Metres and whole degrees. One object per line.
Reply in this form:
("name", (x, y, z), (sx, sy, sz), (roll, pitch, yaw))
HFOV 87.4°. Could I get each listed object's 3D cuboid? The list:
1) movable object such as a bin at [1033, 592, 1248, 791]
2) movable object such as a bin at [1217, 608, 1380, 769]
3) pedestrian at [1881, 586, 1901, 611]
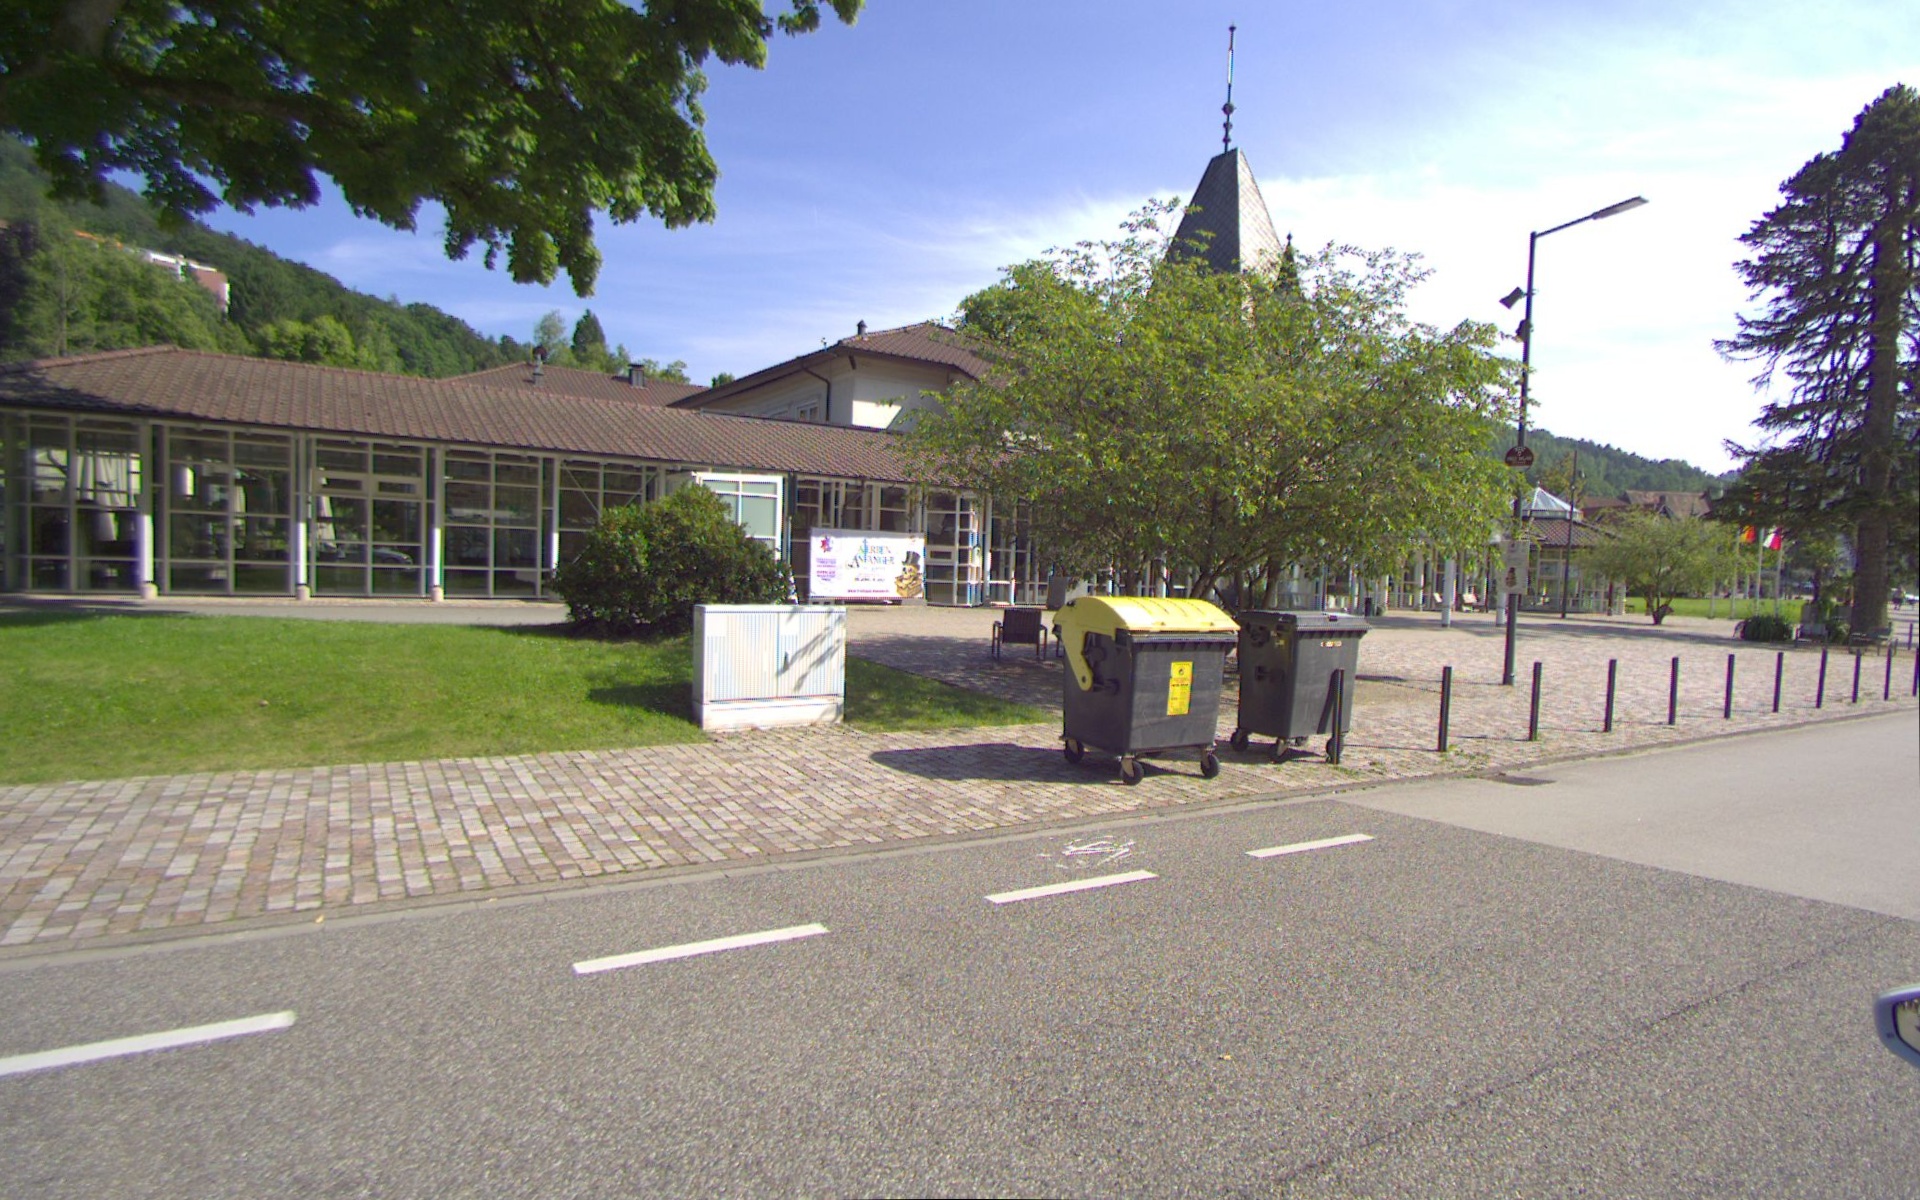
("movable object such as a bin", (1.514, 0.711, 8.512), (1.362, 1.447, 1.072), (1, 5, -32))
("movable object such as a bin", (3.207, 0.795, 9.525), (1.280, 1.360, 0.750), (1, 5, -33))
("pedestrian", (71.265, -0.093, 76.861), (0.854, 1.839, 0.690), (4, 4, 29))
